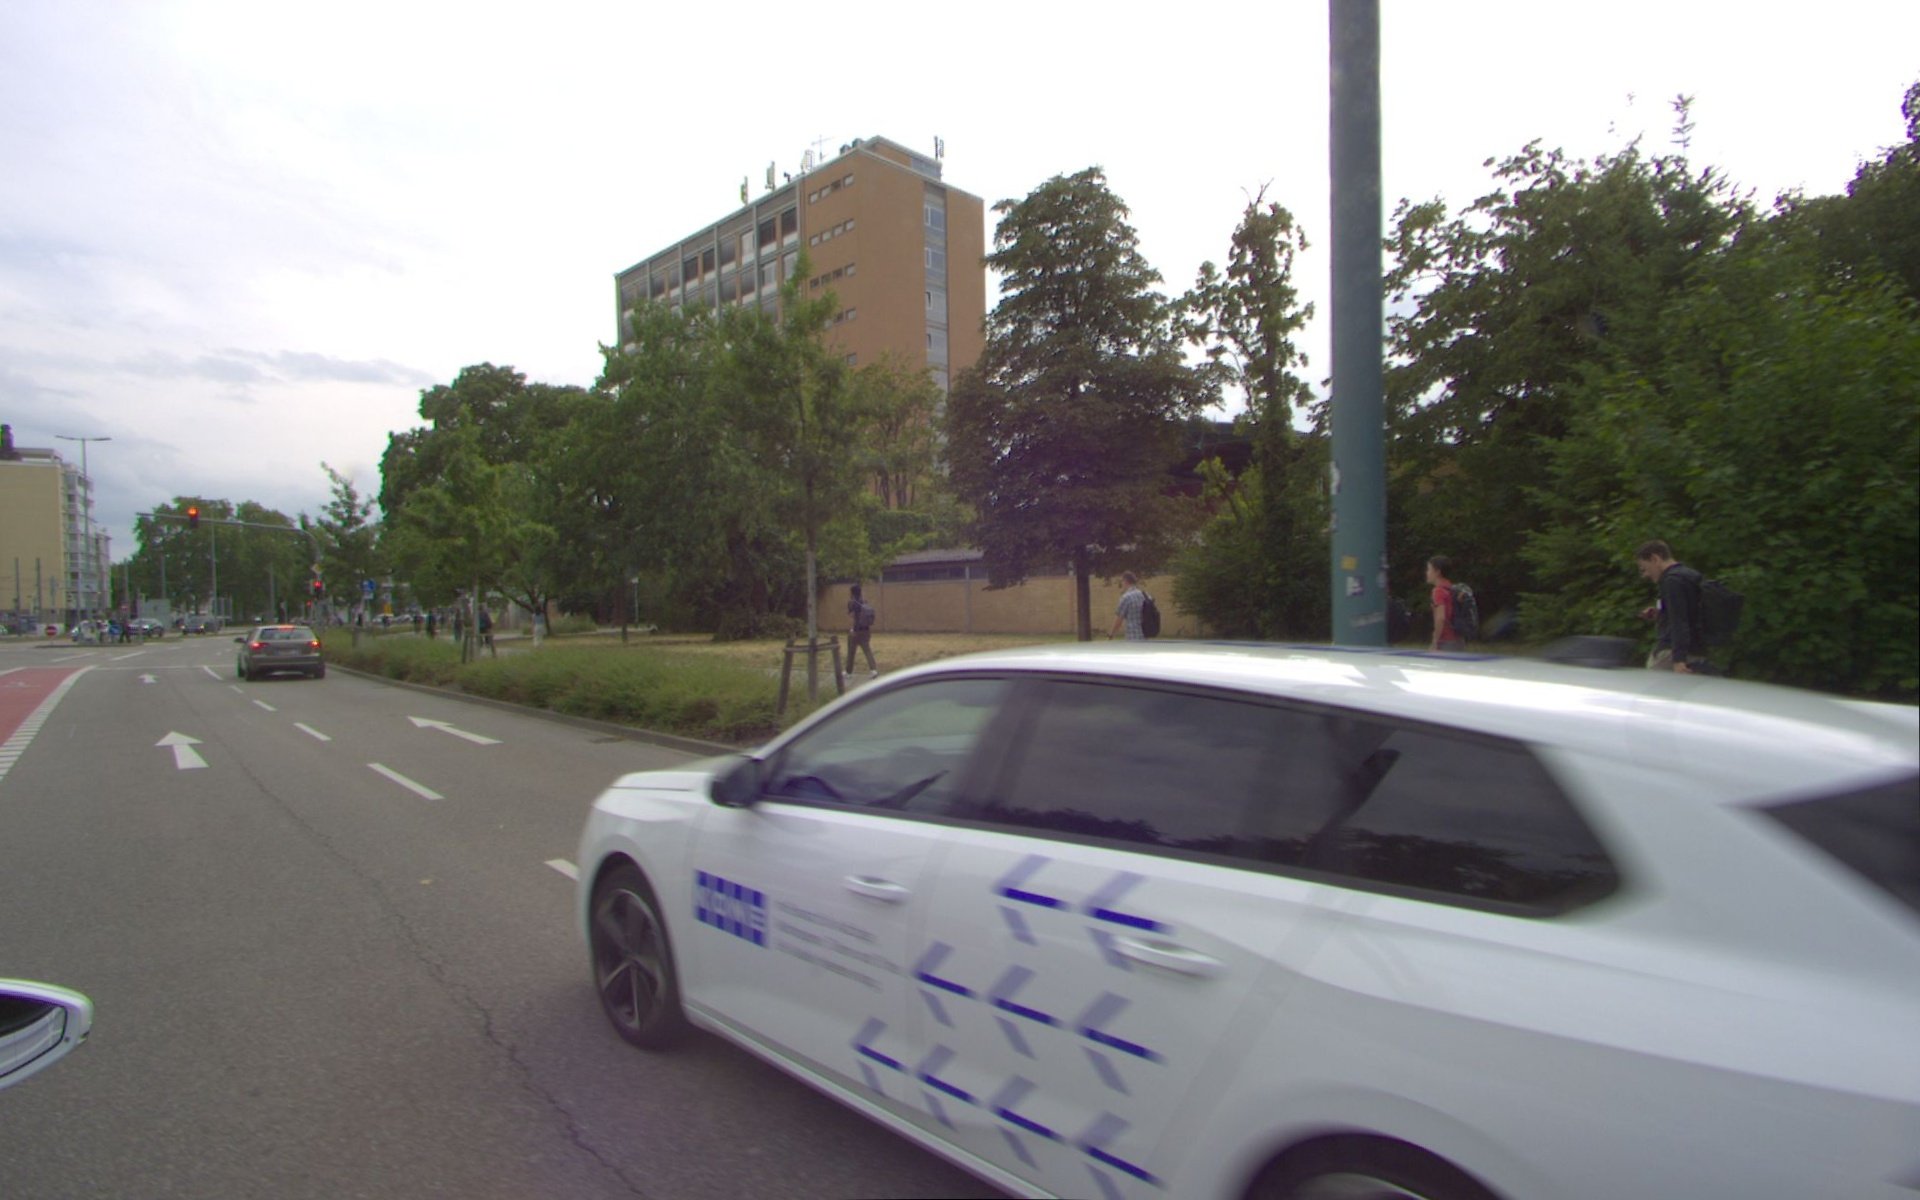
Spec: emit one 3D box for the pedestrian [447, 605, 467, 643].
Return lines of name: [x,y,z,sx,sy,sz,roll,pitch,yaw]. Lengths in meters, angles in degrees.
pedestrian: [-23.204,1.092,46.204,0.792,1.736,0.761,-1,1,-28]

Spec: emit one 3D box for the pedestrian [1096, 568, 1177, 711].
pedestrian: [2.266,0.486,12.866,0.614,1.759,0.807,-2,1,-40]

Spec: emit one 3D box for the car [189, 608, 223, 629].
car: [-78.259,1.908,103.974,1.968,2.040,3.985,-1,0,-24]

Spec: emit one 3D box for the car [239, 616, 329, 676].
car: [-18.591,1.215,27.495,1.710,1.477,3.705,-1,0,-39]

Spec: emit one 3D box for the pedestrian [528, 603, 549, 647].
pedestrian: [-14.578,0.868,34.630,0.648,1.490,0.559,-1,1,-24]

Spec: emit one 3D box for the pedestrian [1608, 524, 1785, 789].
pedestrian: [5.545,0.393,7.554,0.687,1.846,0.946,-2,1,-40]

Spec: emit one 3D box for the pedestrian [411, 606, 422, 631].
pedestrian: [-44.440,1.486,81.852,0.609,2.040,0.592,-1,1,-42]

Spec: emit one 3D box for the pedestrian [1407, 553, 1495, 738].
pedestrian: [4.933,0.444,10.067,0.480,1.787,0.658,-2,1,-40]

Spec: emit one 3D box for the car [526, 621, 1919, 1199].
car: [0.548,0.821,2.949,4.733,1.458,1.729,-1,0,45]

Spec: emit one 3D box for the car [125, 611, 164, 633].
car: [-73.930,1.999,90.834,1.784,1.875,3.984,-1,0,-25]

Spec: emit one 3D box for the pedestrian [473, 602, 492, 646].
pedestrian: [-18.855,0.937,39.541,0.638,1.736,0.559,-1,1,-26]

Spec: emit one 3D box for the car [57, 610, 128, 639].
car: [-70.276,1.948,81.246,2.548,2.137,5.585,-1,0,-21]

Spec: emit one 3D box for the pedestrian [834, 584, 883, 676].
pedestrian: [-1.935,0.566,19.082,0.582,1.705,0.742,-2,1,-40]

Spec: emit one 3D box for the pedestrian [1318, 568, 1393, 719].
pedestrian: [4.496,0.474,11.387,0.464,1.655,0.647,-2,1,-40]

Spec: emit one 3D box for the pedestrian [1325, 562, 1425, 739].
pedestrian: [4.118,0.482,9.955,0.551,1.677,0.747,-2,1,-40]
